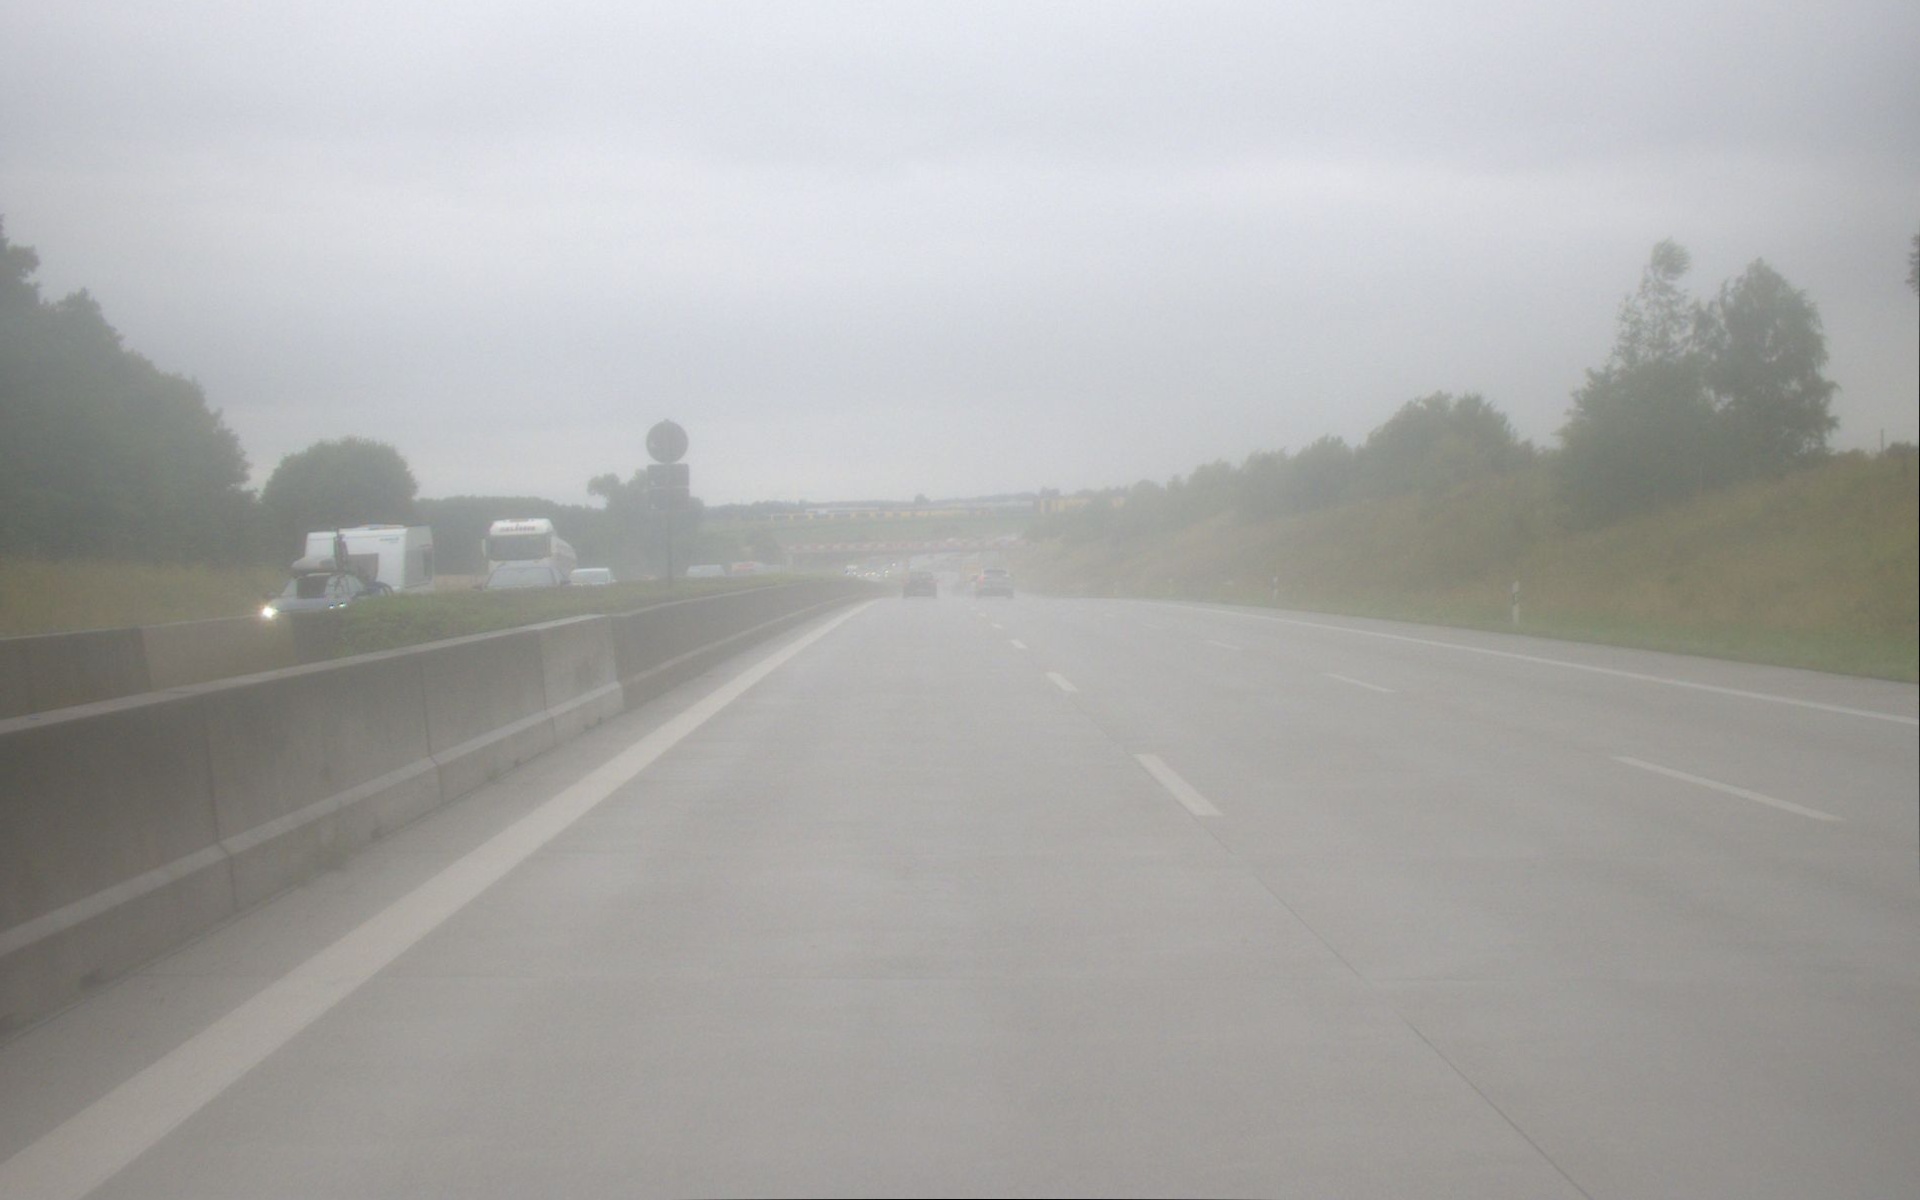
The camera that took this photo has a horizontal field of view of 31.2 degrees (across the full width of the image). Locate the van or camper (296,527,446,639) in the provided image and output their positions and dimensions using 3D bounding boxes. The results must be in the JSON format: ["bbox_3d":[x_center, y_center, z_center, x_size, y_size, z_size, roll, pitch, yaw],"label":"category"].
[{"bbox_3d":[-13.413,-0.396,78.670,2.501,2.421,5.919,-1,1,-1],"label":"van or camper"}]

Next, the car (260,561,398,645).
[{"bbox_3d":[-13.344,0.049,72.986,1.993,1.638,5.410,-2,0,-1],"label":"car"}]

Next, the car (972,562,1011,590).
[{"bbox_3d":[1.593,-1.213,174.645,1.847,1.326,4.430,0,2,-1],"label":"car"}]

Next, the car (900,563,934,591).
[{"bbox_3d":[-2.183,-1.182,176.307,1.729,1.326,4.430,0,2,0],"label":"car"}]
